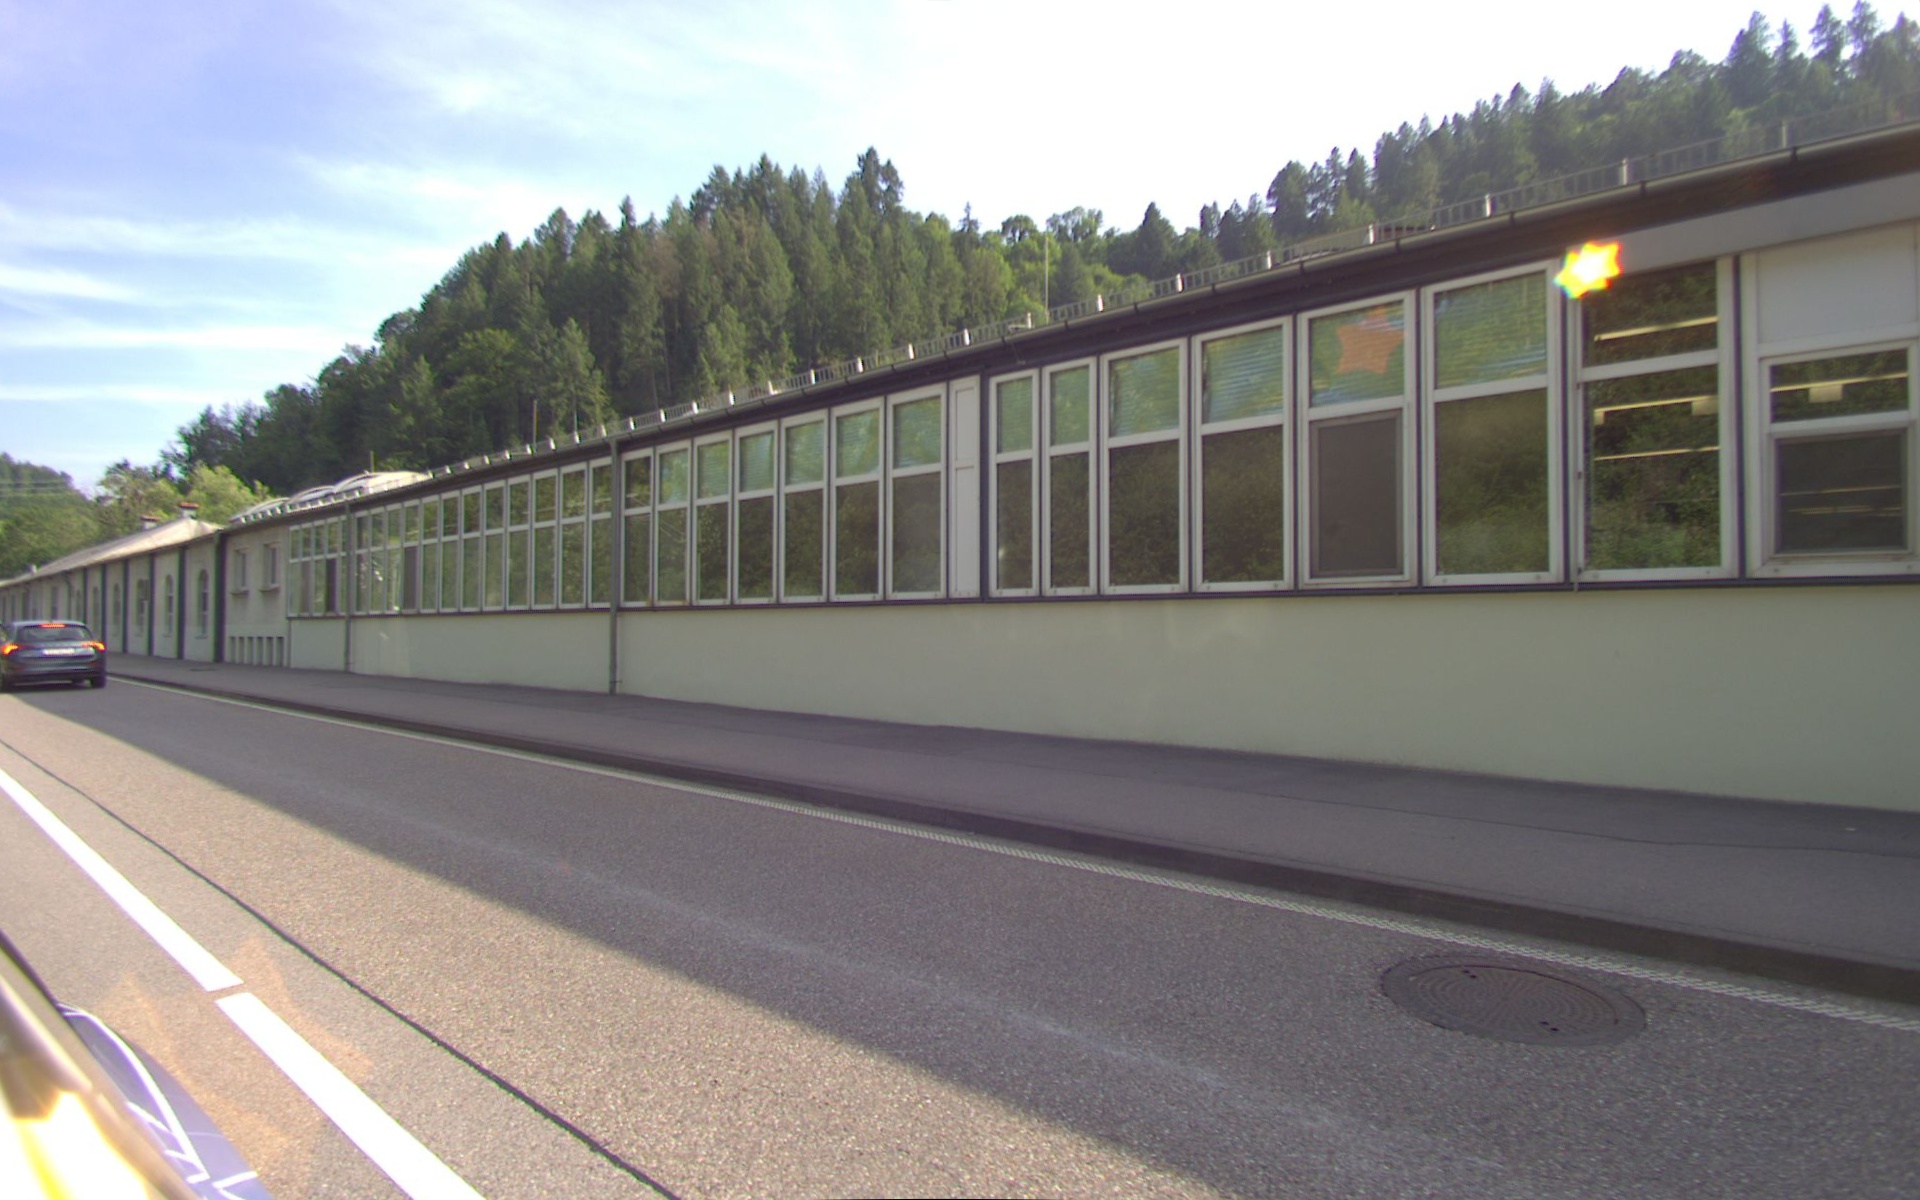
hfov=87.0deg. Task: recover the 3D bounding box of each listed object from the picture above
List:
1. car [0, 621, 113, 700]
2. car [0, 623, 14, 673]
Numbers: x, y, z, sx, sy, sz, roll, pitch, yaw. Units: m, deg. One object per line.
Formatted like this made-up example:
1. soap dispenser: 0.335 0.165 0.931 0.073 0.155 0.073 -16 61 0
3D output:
1. car: -19.811 1.242 21.825 4.050 1.502 1.755 -2 0 41
2. car: -31.363 1.534 32.018 4.196 1.526 1.701 -2 0 41
